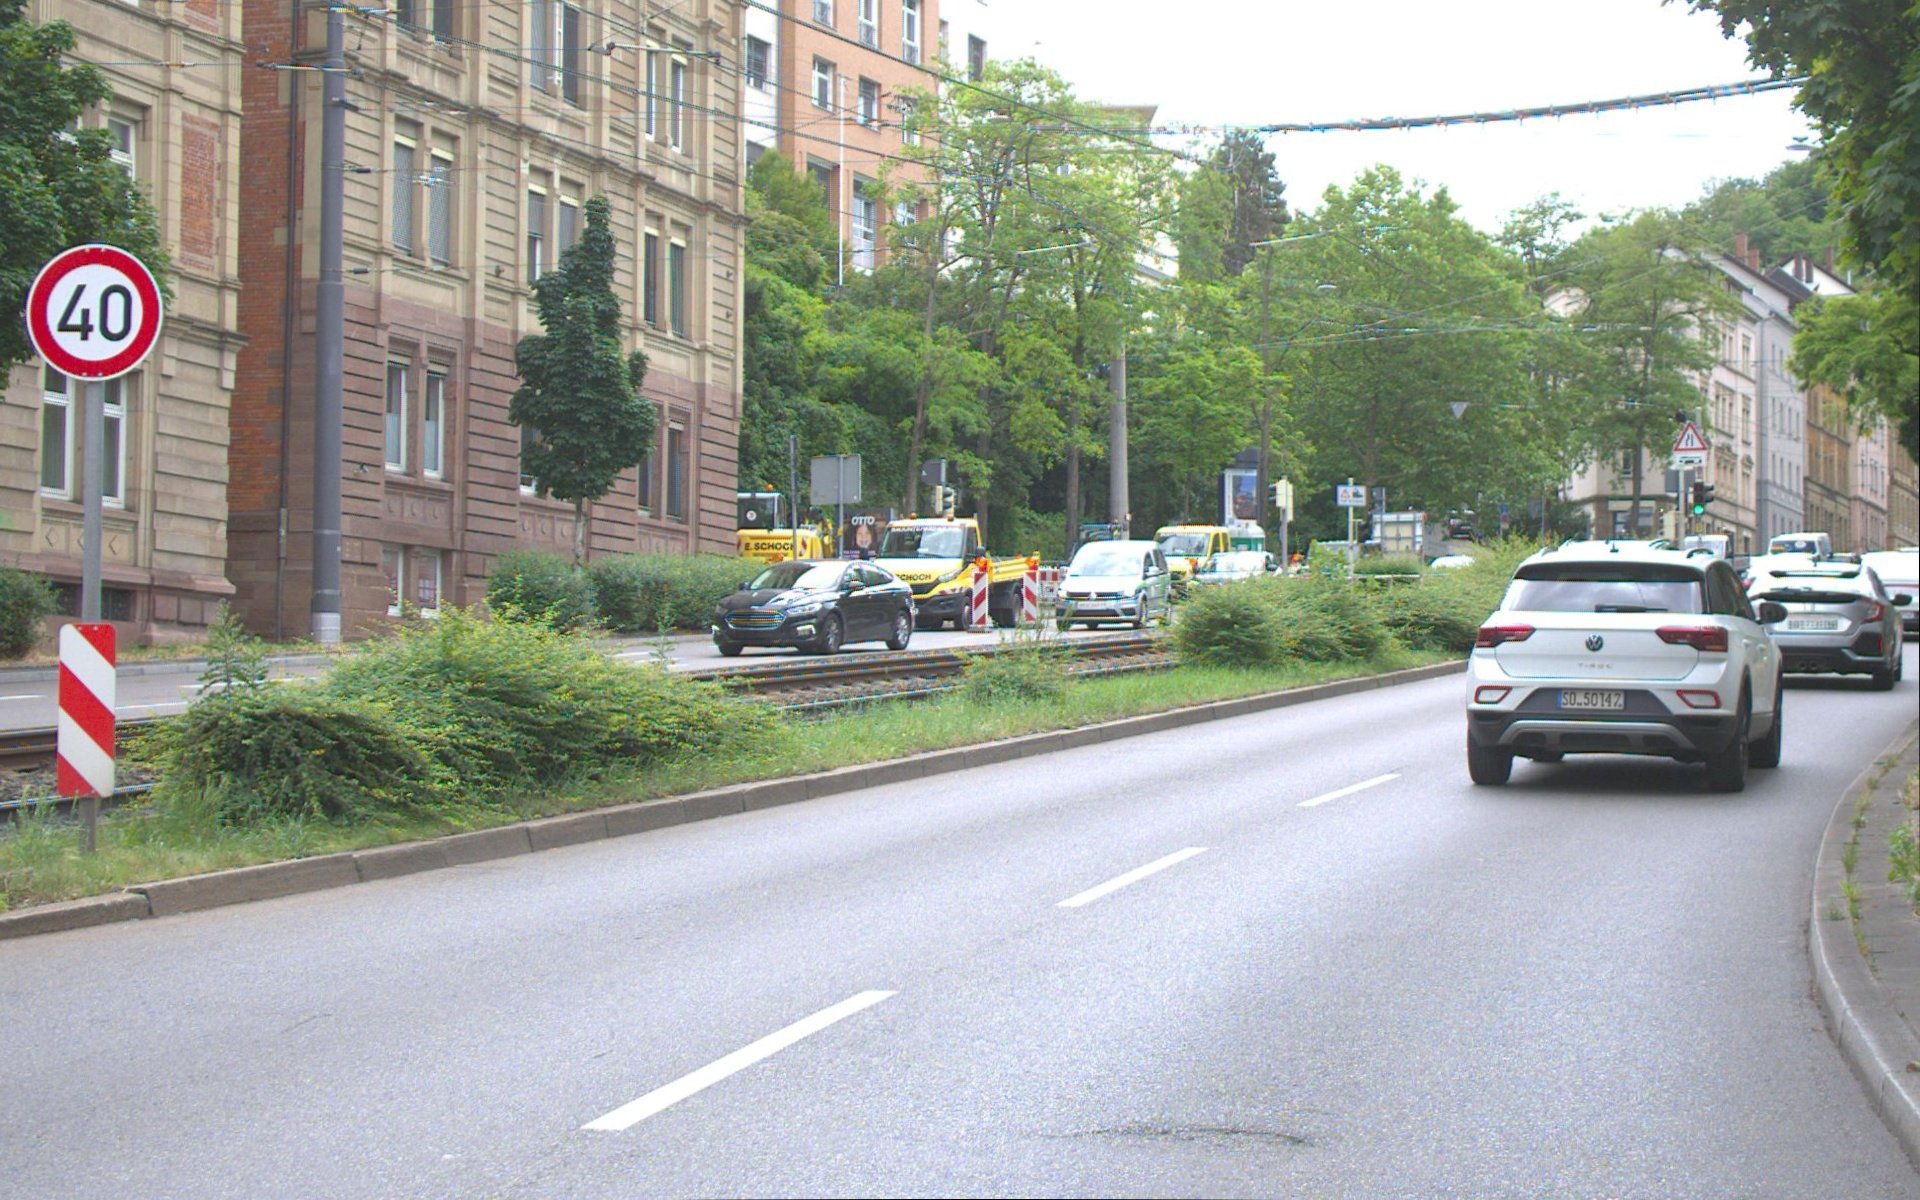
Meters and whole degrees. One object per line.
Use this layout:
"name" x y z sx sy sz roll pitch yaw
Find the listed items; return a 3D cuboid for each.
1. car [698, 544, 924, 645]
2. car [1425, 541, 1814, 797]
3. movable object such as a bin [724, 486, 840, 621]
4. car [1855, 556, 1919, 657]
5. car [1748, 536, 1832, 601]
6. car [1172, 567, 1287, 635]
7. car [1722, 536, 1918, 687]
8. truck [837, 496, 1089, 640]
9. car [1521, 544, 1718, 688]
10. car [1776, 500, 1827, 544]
"car" -2.238 -0.089 53.253 1.821 1.445 4.942 2 1 18
"car" 4.582 0.432 23.415 1.940 1.561 4.042 1 0 20
"movable object such as a bin" -3.801 -0.980 73.605 1.995 2.828 2.028 0 0 13
"car" 16.146 0.108 57.642 1.995 1.617 3.997 2 1 17
"car" 28.869 -1.083 119.478 2.424 2.162 6.028 2 1 17
"car" 6.538 0.043 82.998 1.866 1.549 4.434 2 0 16
"car" 9.832 0.169 39.535 1.904 1.569 3.832 3 -1 11
"truck" 0.166 -0.606 70.842 2.920 2.501 7.146 4 0 19
"car" 8.564 0.206 44.406 1.841 1.734 3.996 2 0 20
"car" 40.049 -3.691 163.526 1.995 2.007 3.996 -1 0 19
